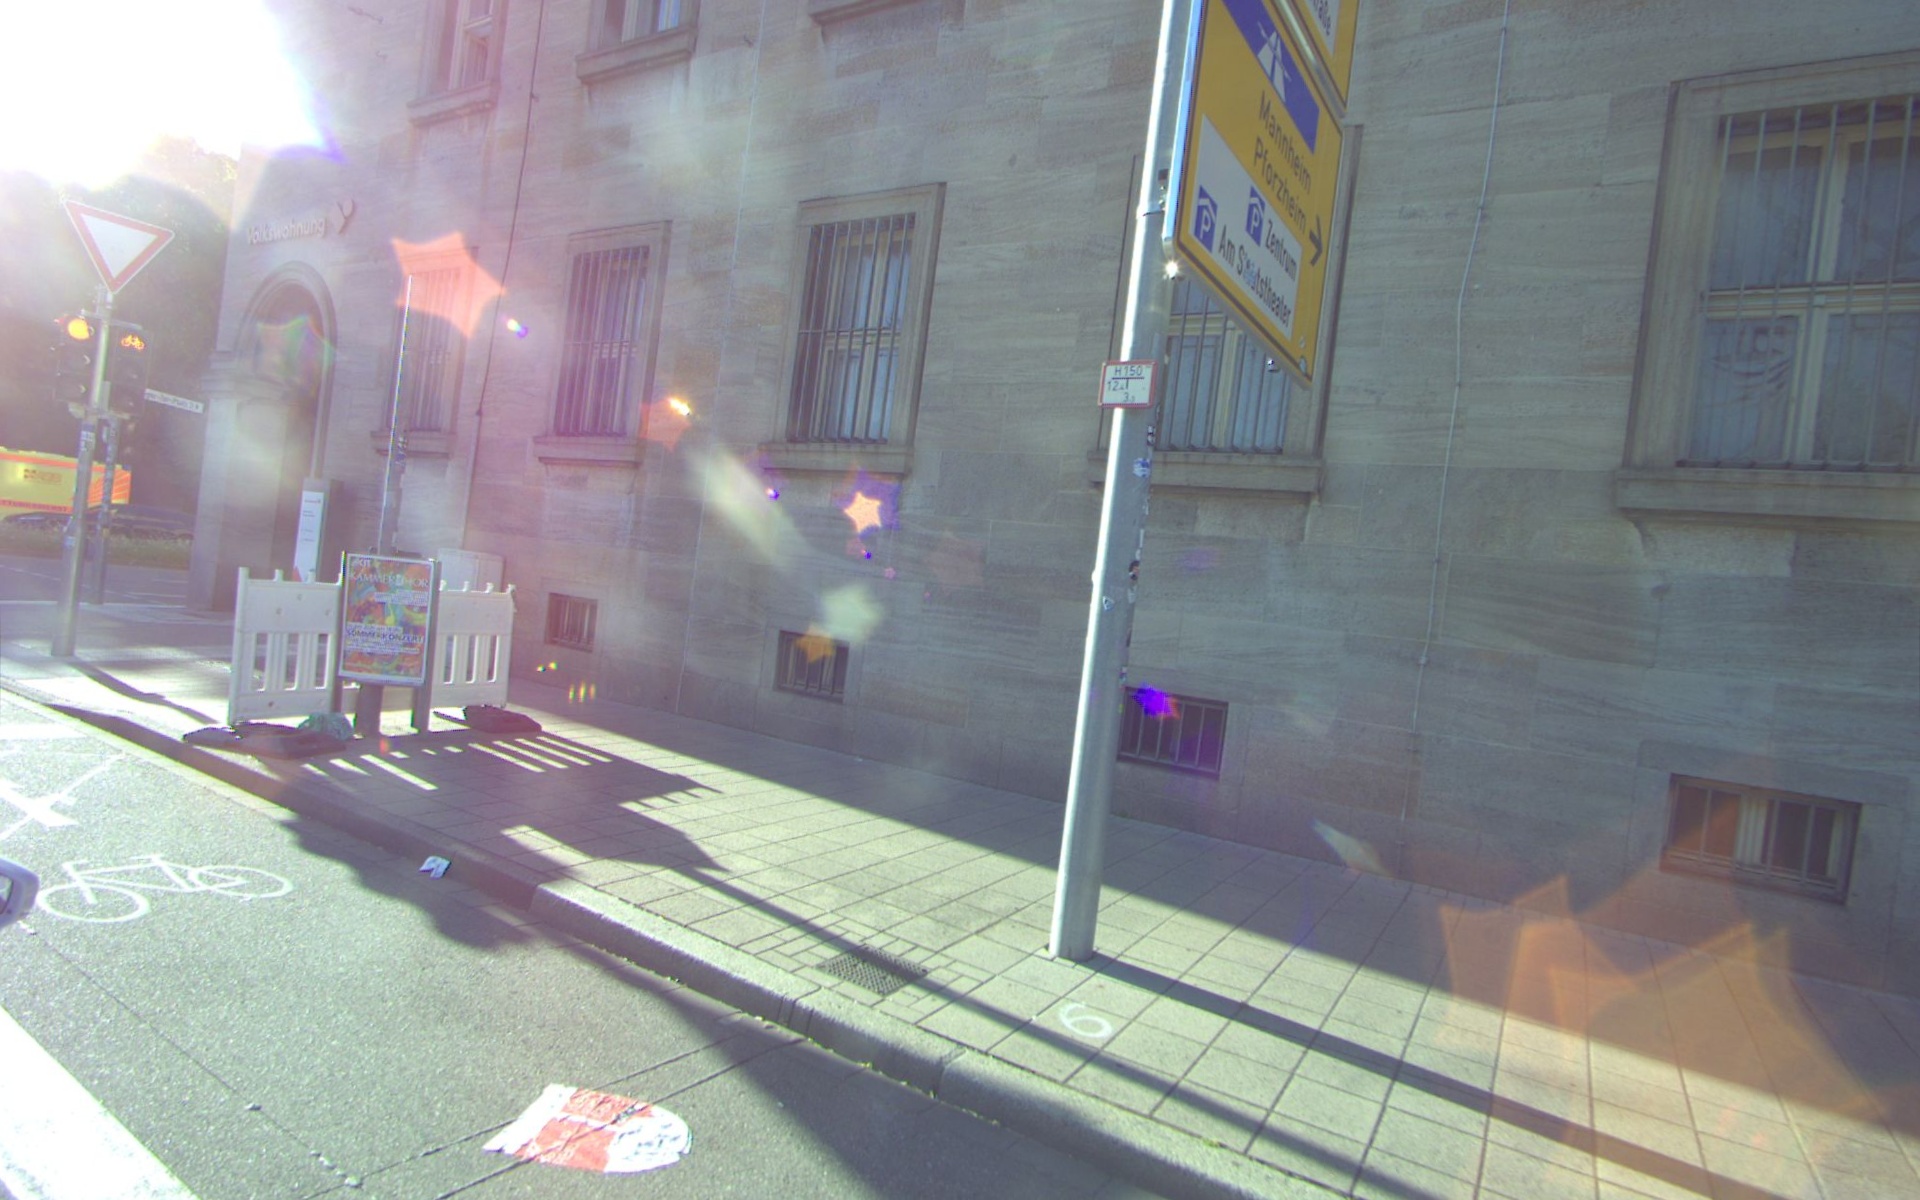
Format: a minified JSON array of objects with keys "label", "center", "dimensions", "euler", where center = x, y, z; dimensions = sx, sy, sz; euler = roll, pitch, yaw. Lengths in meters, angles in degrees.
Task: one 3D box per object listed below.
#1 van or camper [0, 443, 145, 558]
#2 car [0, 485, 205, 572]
[{"label":"van or camper","center":[-29.803,-3.324,30.883],"dimensions":[2.866,2.893,6.717],"euler":[6,-3,36]},{"label":"car","center":[-24.615,-1.985,28.769],"dimensions":[1.857,1.665,4.324],"euler":[6,-3,32]}]
